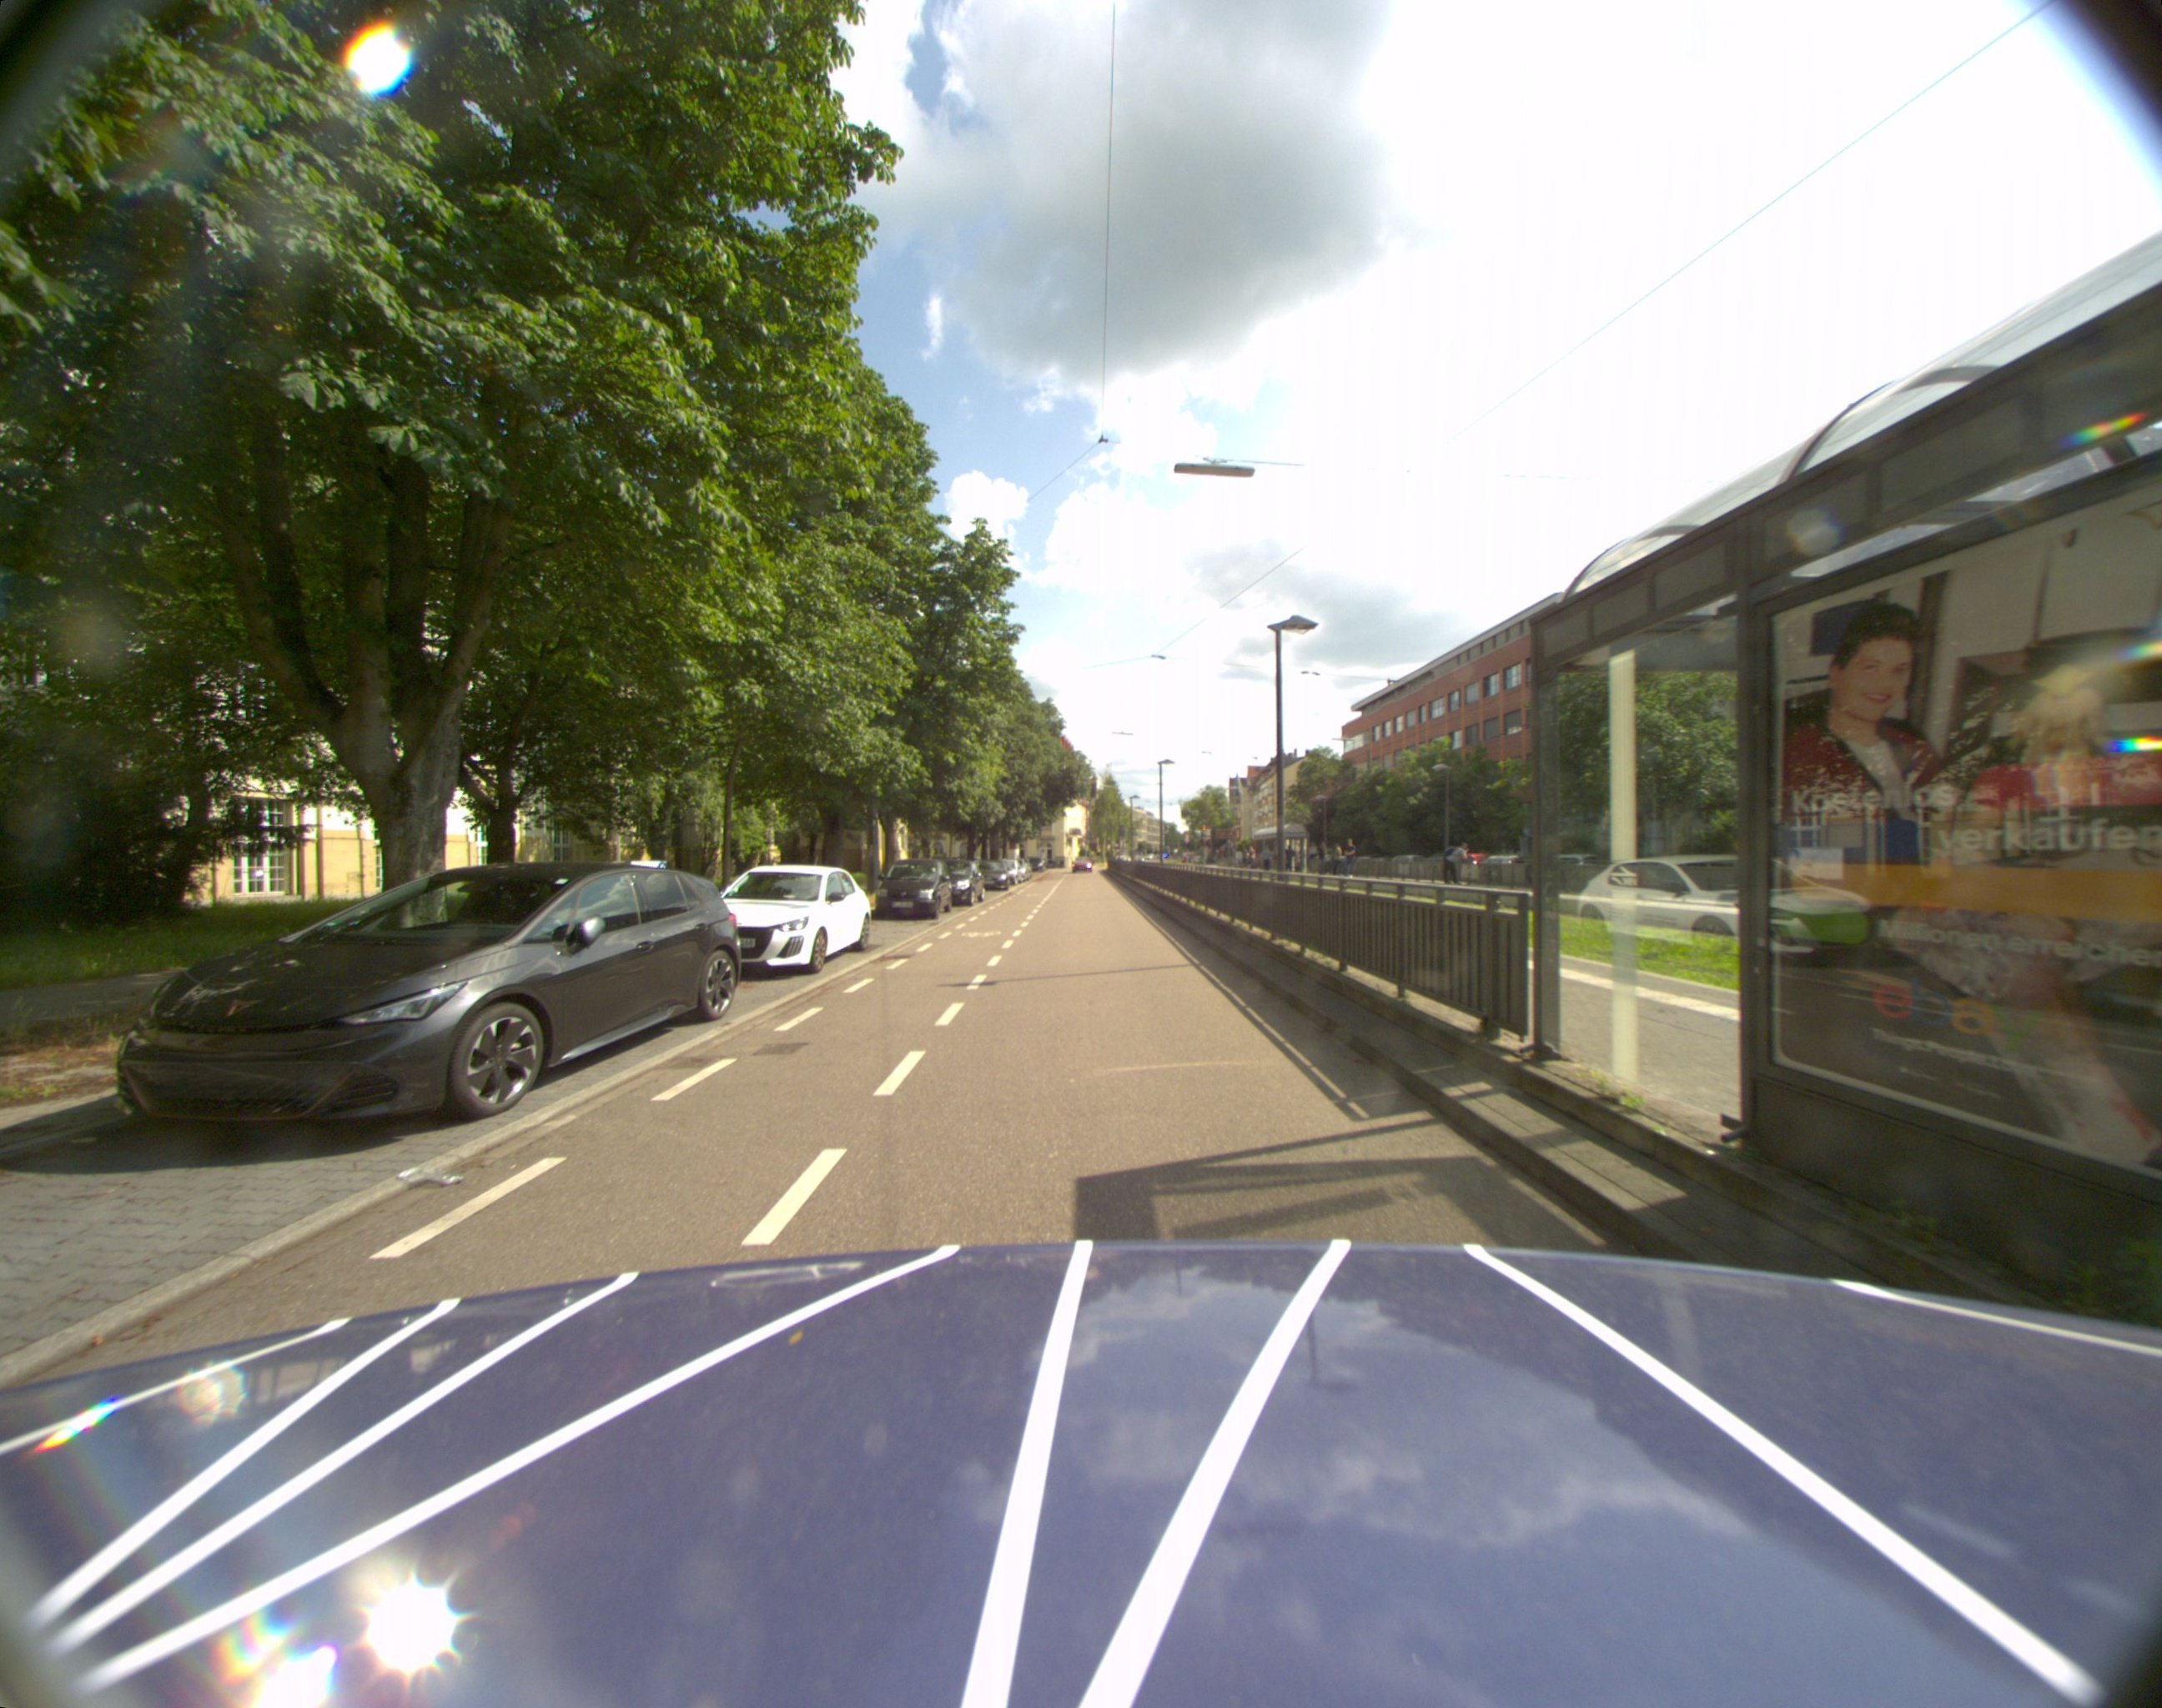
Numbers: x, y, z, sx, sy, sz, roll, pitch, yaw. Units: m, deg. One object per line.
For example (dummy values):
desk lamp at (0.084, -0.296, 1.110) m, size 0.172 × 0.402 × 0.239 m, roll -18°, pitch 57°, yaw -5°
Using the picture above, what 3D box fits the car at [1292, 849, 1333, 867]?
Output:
car at (22.416, 0.408, 73.545) m, size 3.850 × 1.649 × 1.870 m, roll -1°, pitch 0°, yaw -39°

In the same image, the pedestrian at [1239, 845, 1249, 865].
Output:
pedestrian at (14.002, 0.089, 65.353) m, size 0.667 × 1.689 × 0.798 m, roll 0°, pitch 1°, yaw -3°

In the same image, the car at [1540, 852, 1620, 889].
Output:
car at (22.673, 0.688, 34.485) m, size 4.161 × 1.556 × 1.921 m, roll -1°, pitch 1°, yaw -40°

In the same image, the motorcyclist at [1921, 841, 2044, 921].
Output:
motorcyclist at (15.562, 0.449, 13.155) m, size 0.941 × 1.331 × 0.986 m, roll 0°, pitch 1°, yaw 1°

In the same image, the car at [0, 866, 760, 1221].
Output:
car at (-4.389, 0.930, 5.920) m, size 1.729 × 1.574 × 4.677 m, roll 1°, pitch 0°, yaw 1°

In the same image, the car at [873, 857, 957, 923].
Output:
car at (-4.326, 0.891, 20.257) m, size 1.560 × 1.452 × 3.557 m, roll 3°, pitch 1°, yaw -2°

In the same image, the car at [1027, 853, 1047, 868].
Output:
car at (-4.360, 0.639, 75.446) m, size 1.689 × 1.379 × 3.923 m, roll 1°, pitch 1°, yaw 0°

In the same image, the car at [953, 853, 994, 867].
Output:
car at (-13.706, 0.738, 97.158) m, size 4.828 × 1.646 × 1.858 m, roll -1°, pitch 2°, yaw 10°

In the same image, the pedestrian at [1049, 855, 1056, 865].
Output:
pedestrian at (-3.675, 0.759, 99.129) m, size 0.804 × 1.238 × 0.892 m, roll -1°, pitch 2°, yaw 2°

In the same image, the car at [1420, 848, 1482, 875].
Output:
car at (22.910, 0.468, 47.049) m, size 4.007 × 1.559 × 1.605 m, roll -1°, pitch 0°, yaw -33°

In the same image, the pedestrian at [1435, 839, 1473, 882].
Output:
pedestrian at (13.873, 0.231, 28.268) m, size 0.991 × 1.569 × 0.798 m, roll -1°, pitch 1°, yaw -3°

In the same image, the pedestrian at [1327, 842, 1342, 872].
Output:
pedestrian at (13.922, 0.151, 41.804) m, size 0.608 × 1.665 × 0.625 m, roll -1°, pitch 2°, yaw 0°

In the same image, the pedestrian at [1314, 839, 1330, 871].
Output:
pedestrian at (13.191, 0.057, 41.611) m, size 0.607 × 1.744 × 0.626 m, roll 1°, pitch 2°, yaw 41°

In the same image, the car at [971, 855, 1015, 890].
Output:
car at (-4.228, 0.853, 37.050) m, size 1.836 × 1.458 × 4.828 m, roll 2°, pitch 1°, yaw -4°

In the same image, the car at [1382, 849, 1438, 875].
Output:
car at (22.868, 0.546, 52.761) m, size 4.007 × 1.520 × 1.668 m, roll -3°, pitch 0°, yaw -36°

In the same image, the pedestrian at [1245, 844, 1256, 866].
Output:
pedestrian at (13.531, 0.068, 60.557) m, size 0.640 × 1.715 × 0.798 m, roll 0°, pitch 1°, yaw -3°

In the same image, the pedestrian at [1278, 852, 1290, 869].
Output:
pedestrian at (13.804, 0.448, 51.683) m, size 0.655 × 1.026 × 0.561 m, roll 1°, pitch 9°, yaw -3°

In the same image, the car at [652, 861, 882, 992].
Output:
car at (-4.432, 0.923, 11.519) m, size 1.840 × 1.515 × 4.252 m, roll 2°, pitch 0°, yaw -2°

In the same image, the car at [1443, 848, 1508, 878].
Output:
car at (22.944, 0.489, 44.154) m, size 4.144 × 1.630 × 1.829 m, roll -1°, pitch 1°, yaw -39°

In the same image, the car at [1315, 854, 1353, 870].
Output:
car at (22.599, 0.692, 67.753) m, size 3.258 × 1.296 × 1.599 m, roll -1°, pitch 0°, yaw -35°

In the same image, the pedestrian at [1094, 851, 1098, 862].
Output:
pedestrian at (2.358, 0.398, 120.604) m, size 0.593 × 1.622 × 0.538 m, roll 2°, pitch 1°, yaw 2°

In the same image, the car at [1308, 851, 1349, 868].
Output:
car at (23.294, 0.484, 71.350) m, size 4.007 × 1.487 × 1.646 m, roll -1°, pitch 0°, yaw -37°

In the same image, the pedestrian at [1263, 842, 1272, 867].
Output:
pedestrian at (13.191, 0.025, 53.758) m, size 0.487 × 1.716 × 0.623 m, roll -1°, pitch 1°, yaw -1°

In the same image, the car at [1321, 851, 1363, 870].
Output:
car at (22.242, 0.570, 64.676) m, size 3.317 × 1.412 × 1.581 m, roll -3°, pitch 1°, yaw -30°

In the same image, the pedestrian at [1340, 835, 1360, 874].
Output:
pedestrian at (13.100, 0.017, 37.040) m, size 0.752 × 1.881 × 0.638 m, roll -1°, pitch 3°, yaw 2°

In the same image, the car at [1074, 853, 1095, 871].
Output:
car at (0.313, 0.680, 69.652) m, size 1.790 × 1.499 × 3.999 m, roll -2°, pitch 0°, yaw 0°

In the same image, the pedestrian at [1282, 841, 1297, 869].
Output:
pedestrian at (13.301, 0.072, 48.530) m, size 0.634 × 1.733 × 1.036 m, roll 0°, pitch 1°, yaw -3°

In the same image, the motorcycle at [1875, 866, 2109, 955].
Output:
motorcycle at (15.523, 0.906, 13.114) m, size 1.017 × 1.331 × 2.517 m, roll 0°, pitch 0°, yaw 1°

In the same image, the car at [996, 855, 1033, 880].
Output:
car at (-4.143, 0.792, 48.203) m, size 1.833 × 1.433 × 5.049 m, roll 2°, pitch 0°, yaw 0°

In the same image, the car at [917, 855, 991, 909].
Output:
car at (-4.164, 0.862, 25.453) m, size 1.695 × 1.552 × 4.307 m, roll 2°, pitch 0°, yaw 0°

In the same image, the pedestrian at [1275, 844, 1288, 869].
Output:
pedestrian at (12.639, 0.156, 47.995) m, size 0.599 × 1.623 × 0.558 m, roll 0°, pitch 0°, yaw -14°

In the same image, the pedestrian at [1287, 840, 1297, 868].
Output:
pedestrian at (13.770, -0.007, 49.551) m, size 0.444 × 1.816 × 0.623 m, roll 0°, pitch 1°, yaw -3°

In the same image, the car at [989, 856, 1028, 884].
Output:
car at (-4.042, 0.881, 42.994) m, size 1.639 × 1.423 × 4.015 m, roll 2°, pitch 0°, yaw 2°

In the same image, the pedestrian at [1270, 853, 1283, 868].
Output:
pedestrian at (13.426, 0.469, 52.185) m, size 0.721 × 1.025 × 0.623 m, roll 1°, pitch 1°, yaw -3°

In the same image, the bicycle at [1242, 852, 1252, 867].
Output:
bicycle at (13.196, 0.418, 60.525) m, size 0.663 × 1.107 × 1.878 m, roll 1°, pitch 1°, yaw 9°
